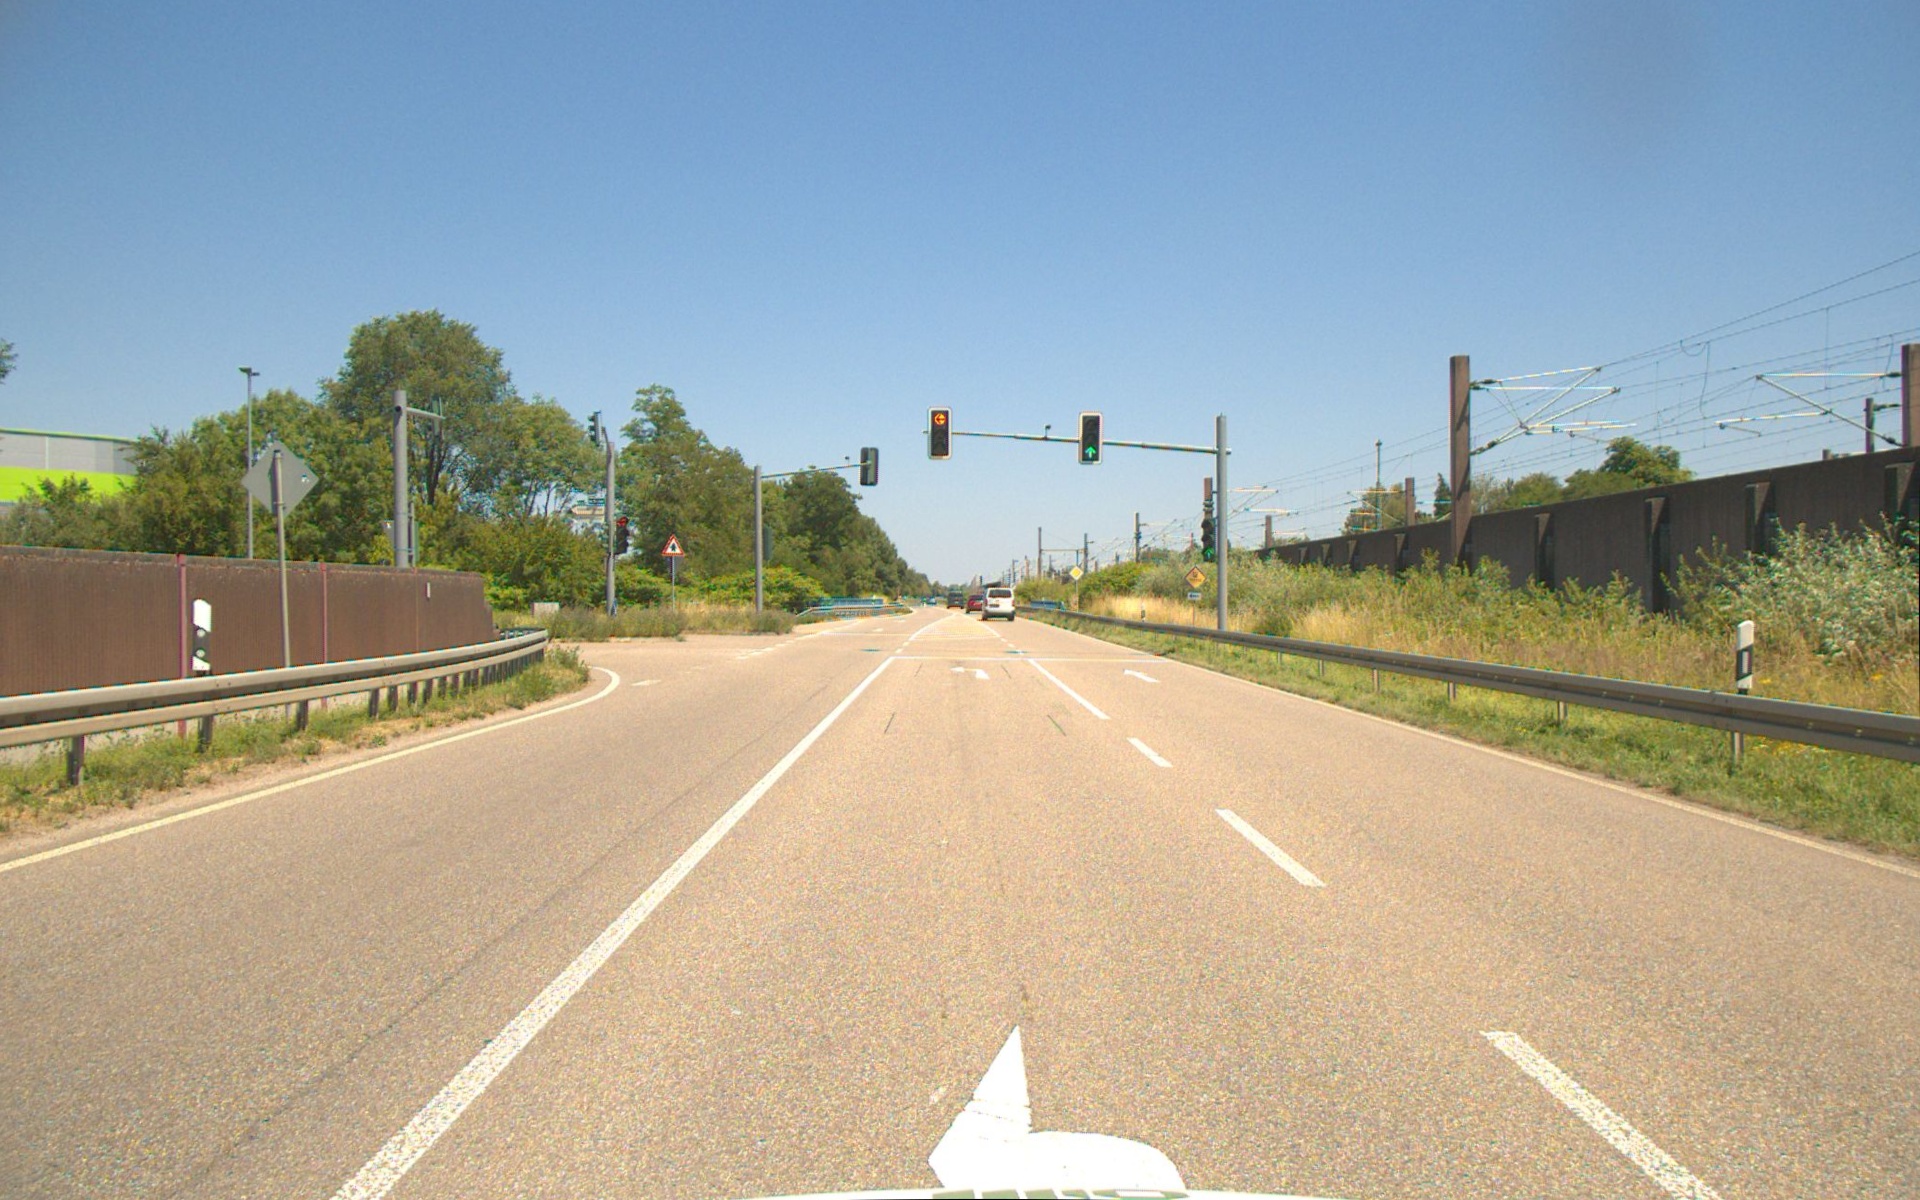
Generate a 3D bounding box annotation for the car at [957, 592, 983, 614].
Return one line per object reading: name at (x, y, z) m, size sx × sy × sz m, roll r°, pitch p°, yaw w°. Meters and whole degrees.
car at (0.828, 0.246, 141.361) m, size 1.979 × 1.756 × 4.541 m, roll 1°, pitch 0°, yaw -2°

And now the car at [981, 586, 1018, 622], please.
car at (2.343, 0.227, 99.176) m, size 1.953 × 2.018 × 4.059 m, roll 1°, pitch 0°, yaw -2°

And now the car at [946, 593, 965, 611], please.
car at (-0.499, 0.238, 197.922) m, size 2.111 × 2.002 × 4.541 m, roll 1°, pitch 0°, yaw -2°
